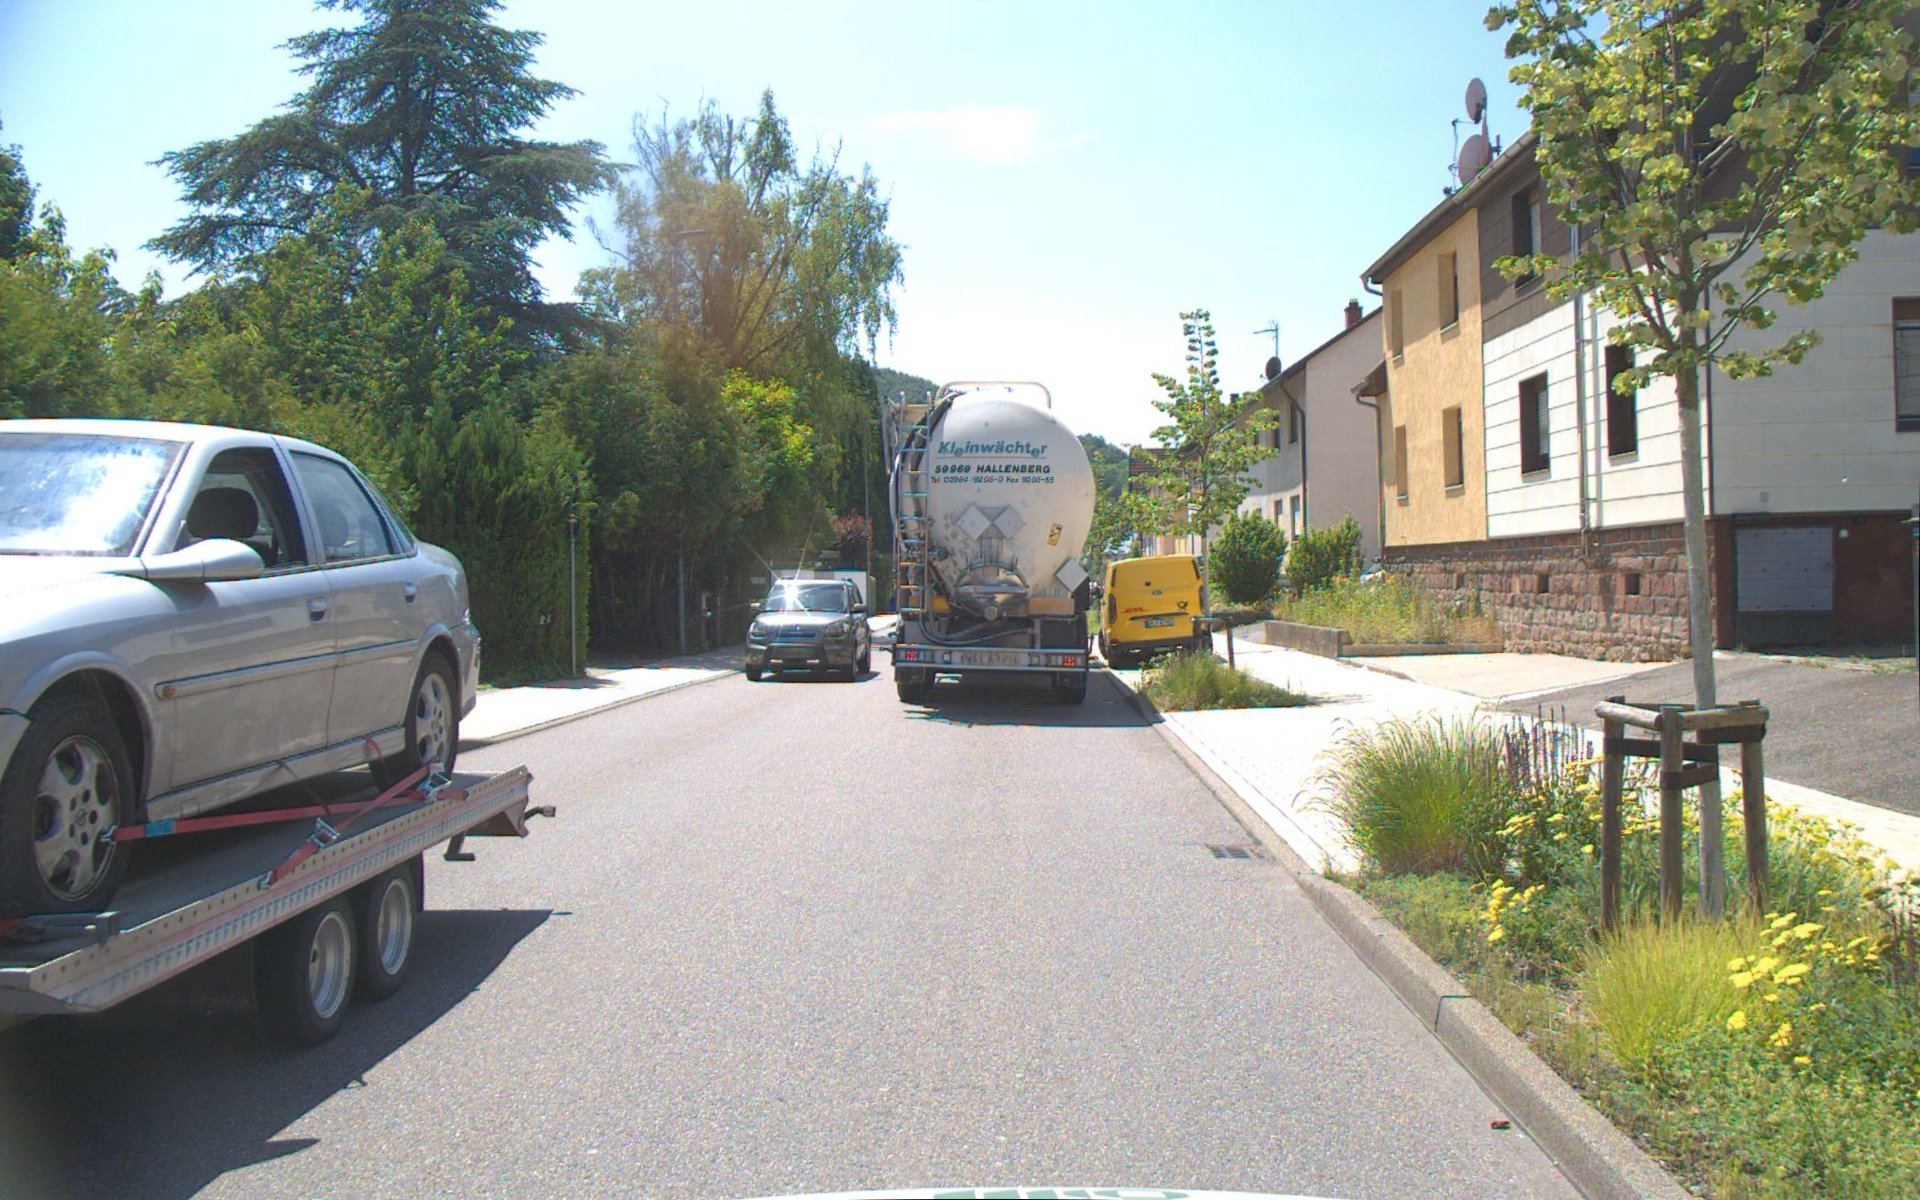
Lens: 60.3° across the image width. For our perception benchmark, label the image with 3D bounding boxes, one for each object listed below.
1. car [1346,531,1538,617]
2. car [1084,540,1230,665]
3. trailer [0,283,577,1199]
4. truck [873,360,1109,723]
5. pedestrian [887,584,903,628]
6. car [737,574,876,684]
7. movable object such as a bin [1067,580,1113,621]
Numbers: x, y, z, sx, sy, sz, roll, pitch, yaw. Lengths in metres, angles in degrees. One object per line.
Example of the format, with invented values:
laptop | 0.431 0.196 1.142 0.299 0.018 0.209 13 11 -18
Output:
car | 11.355 -0.601 39.172 3.906 1.705 1.874 -4 0 0
car | 3.733 0.065 32.441 2.145 2.048 5.623 -5 0 1
trailer | -2.954 0.379 4.961 2.111 2.021 6.201 1 0 0
truck | 0.576 -0.722 24.305 2.693 4.127 10.893 0 1 2
pedestrian | -3.082 0.300 78.335 0.705 2.049 0.804 1 -1 1
car | -2.490 0.424 27.732 1.829 1.681 3.950 1 1 2
movable object such as a bin | 4.880 0.029 62.142 1.539 1.441 3.042 -1 0 2
